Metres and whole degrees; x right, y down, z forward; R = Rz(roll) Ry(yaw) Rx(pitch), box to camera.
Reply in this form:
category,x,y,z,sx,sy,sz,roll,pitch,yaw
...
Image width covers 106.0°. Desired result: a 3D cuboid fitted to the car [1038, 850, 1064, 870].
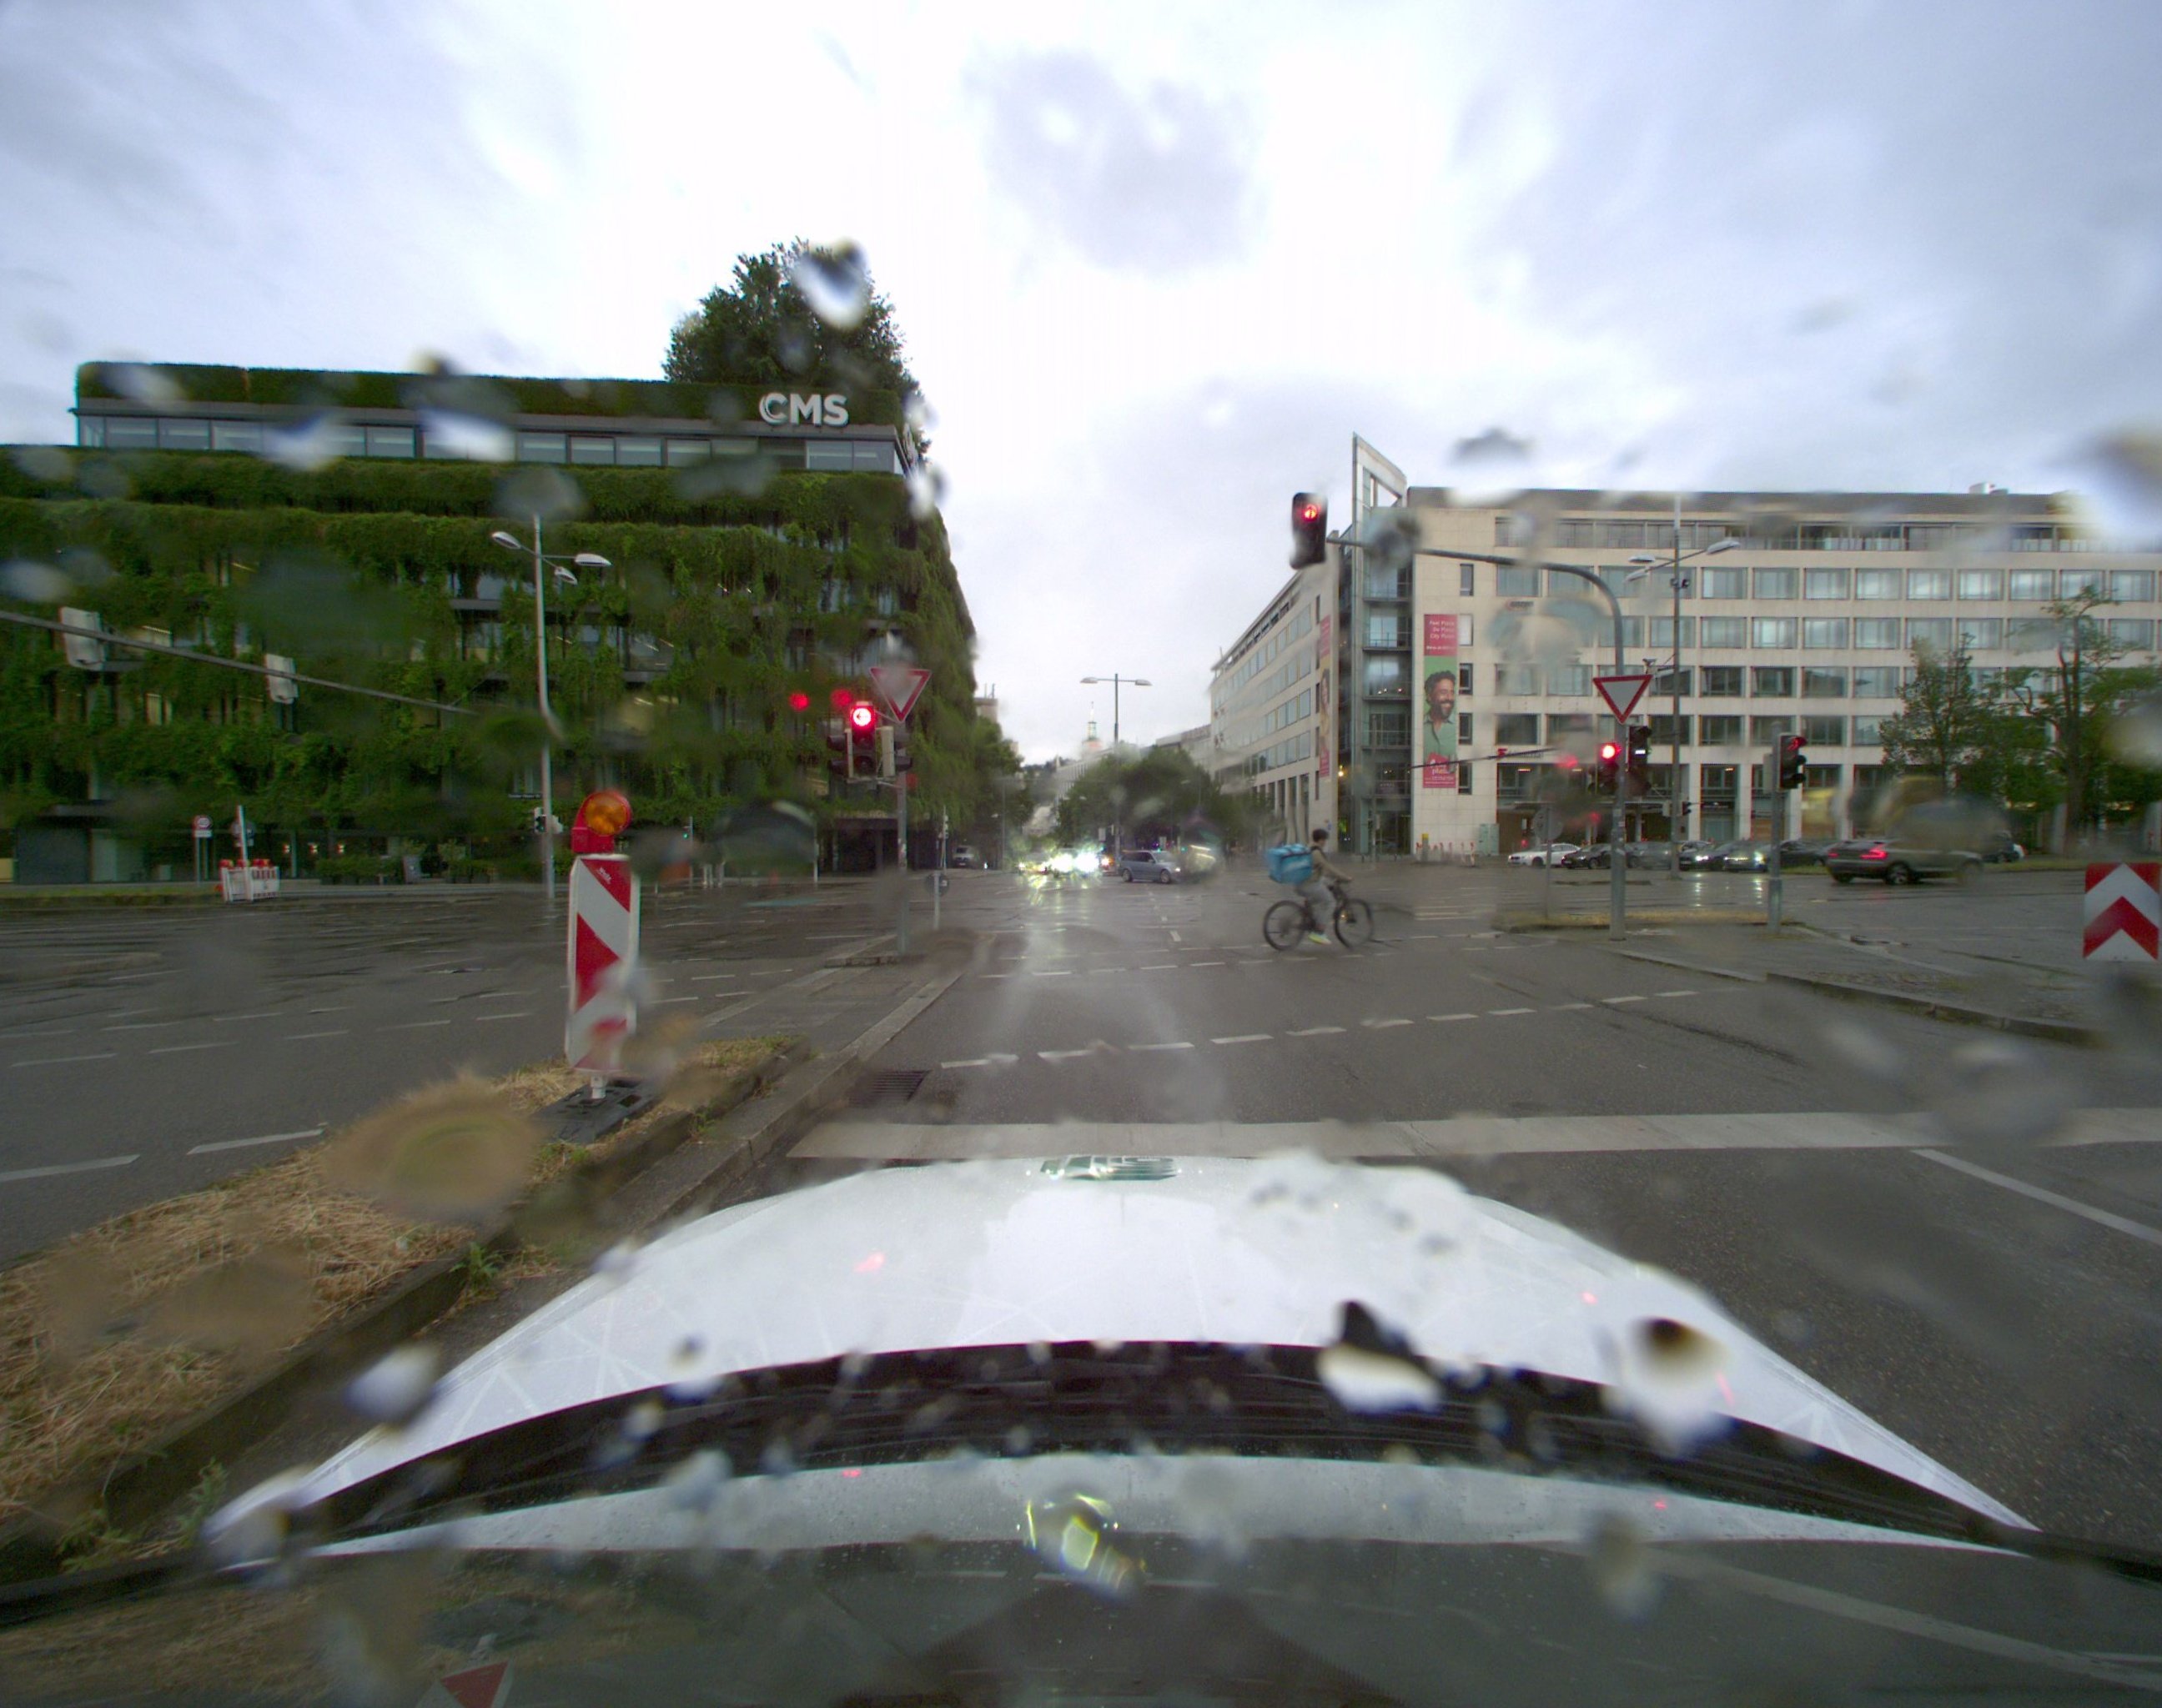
category,x,y,z,sx,sy,sz,roll,pitch,yaw
car,-2.383,0.464,64.538,1.853,1.448,4.614,-1,1,-4

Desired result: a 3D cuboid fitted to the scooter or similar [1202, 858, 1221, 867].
category,x,y,z,sx,sy,sz,roll,pitch,yaw
scooter or similar,12.779,0.831,79.593,1.750,0.878,0.486,-1,0,-18

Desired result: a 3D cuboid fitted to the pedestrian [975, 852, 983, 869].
category,x,y,z,sx,sy,sz,roll,pitch,yaw
pedestrian,-9.157,0.599,73.063,0.605,1.524,0.587,-1,0,-3

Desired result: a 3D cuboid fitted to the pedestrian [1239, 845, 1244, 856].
category,x,y,z,sx,sy,sz,roll,pitch,yaw
pedestrian,16.397,-0.355,83.179,0.354,1.173,0.412,-1,0,-19

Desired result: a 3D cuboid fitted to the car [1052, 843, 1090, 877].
category,x,y,z,sx,sy,sz,roll,pitch,yaw
car,-0.590,0.291,45.174,1.959,1.655,4.361,-1,1,-2

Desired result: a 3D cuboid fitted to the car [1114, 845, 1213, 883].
category,x,y,z,sx,sy,sz,roll,pitch,yaw
car,3.494,0.366,35.223,2.007,1.486,4.420,-2,2,-31

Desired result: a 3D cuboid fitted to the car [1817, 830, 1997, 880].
category,x,y,z,sx,sy,sz,roll,pitch,yaw
car,27.608,0.020,27.291,4.540,1.550,1.994,-1,0,-9

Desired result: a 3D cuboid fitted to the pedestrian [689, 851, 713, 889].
category,x,y,z,sx,sy,sz,roll,pitch,yaw
pedestrian,-18.040,0.745,38.699,0.939,1.758,1.163,-1,0,-22

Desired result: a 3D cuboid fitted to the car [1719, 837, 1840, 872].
category,x,y,z,sx,sy,sz,roll,pitch,yaw
car,31.121,-0.001,36.331,4.452,1.464,1.716,-1,0,-11

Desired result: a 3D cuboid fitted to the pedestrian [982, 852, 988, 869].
category,x,y,z,sx,sy,sz,roll,pitch,yaw
pedestrian,-8.599,0.567,73.151,0.435,1.524,0.547,-1,0,-3

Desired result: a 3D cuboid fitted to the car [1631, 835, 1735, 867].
category,x,y,z,sx,sy,sz,roll,pitch,yaw
car,31.677,-0.184,42.902,4.455,1.598,1.991,-1,0,-13

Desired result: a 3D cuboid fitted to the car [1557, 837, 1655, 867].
category,x,y,z,sx,sy,sz,roll,pitch,yaw
car,29.210,-0.130,45.378,4.451,1.598,1.993,-1,0,-10

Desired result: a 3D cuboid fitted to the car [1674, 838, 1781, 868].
category,x,y,z,sx,sy,sz,roll,pitch,yaw
car,31.284,-0.057,39.435,4.455,1.348,1.715,-1,0,-13

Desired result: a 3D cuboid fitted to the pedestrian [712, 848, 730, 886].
category,x,y,z,sx,sy,sz,roll,pitch,yaw
pedestrian,-17.201,0.625,38.898,0.744,1.758,0.969,-1,0,-22

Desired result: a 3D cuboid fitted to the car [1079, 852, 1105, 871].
category,x,y,z,sx,sy,sz,roll,pitch,yaw
car,0.862,0.595,67.530,1.988,1.443,4.554,-1,0,-1

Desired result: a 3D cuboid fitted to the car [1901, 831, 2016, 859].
category,x,y,z,sx,sy,sz,roll,pitch,yaw
car,45.263,-0.456,42.025,4.638,1.348,1.919,-1,0,-12

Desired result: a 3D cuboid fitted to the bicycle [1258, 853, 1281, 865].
category,x,y,z,sx,sy,sz,roll,pitch,yaw
bicycle,14.976,0.386,64.661,1.778,0.934,0.478,-1,0,43

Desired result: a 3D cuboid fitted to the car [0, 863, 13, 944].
category,x,y,z,sx,sy,sz,roll,pitch,yaw
car,-27.138,1.198,18.212,3.451,1.922,1.992,-1,0,-11

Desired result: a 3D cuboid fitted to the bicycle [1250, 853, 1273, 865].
category,x,y,z,sx,sy,sz,roll,pitch,yaw
bicycle,14.186,0.400,64.038,1.778,0.934,0.478,-1,0,43

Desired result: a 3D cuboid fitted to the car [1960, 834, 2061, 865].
category,x,y,z,sx,sy,sz,roll,pitch,yaw
car,51.794,-0.266,45.417,4.180,1.623,1.727,-1,1,-8

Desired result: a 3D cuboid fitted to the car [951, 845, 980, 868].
category,x,y,z,sx,sy,sz,roll,pitch,yaw
car,-9.705,0.191,68.708,1.989,1.895,4.461,-1,0,-2

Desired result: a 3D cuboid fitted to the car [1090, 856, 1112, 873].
category,x,y,z,sx,sy,sz,roll,pitch,yaw
car,1.985,1.055,82.278,1.988,1.529,4.552,-1,1,-2

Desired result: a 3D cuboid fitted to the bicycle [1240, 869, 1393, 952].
category,x,y,z,sx,sy,sz,roll,pitch,yaw
bicycle,3.537,0.803,12.204,2.155,1.103,0.842,-1,0,-23

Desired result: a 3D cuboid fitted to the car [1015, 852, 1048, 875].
category,x,y,z,sx,sy,sz,roll,pitch,yaw
car,-3.398,0.612,55.300,1.855,1.448,4.608,-1,1,-8

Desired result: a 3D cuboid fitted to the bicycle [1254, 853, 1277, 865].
category,x,y,z,sx,sy,sz,roll,pitch,yaw
bicycle,14.845,0.392,65.631,1.778,0.934,0.478,-1,0,43

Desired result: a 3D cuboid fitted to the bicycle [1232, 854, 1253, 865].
category,x,y,z,sx,sy,sz,roll,pitch,yaw
bicycle,14.400,0.453,72.568,1.786,0.934,0.476,-1,0,4

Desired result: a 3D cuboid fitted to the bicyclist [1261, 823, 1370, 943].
category,x,y,z,sx,sy,sz,roll,pitch,yaw
bicyclist,3.495,0.405,12.170,1.300,1.704,0.842,-1,0,-23

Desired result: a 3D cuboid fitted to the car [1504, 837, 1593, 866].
category,x,y,z,sx,sy,sz,roll,pitch,yaw
car,27.976,-0.150,48.773,4.456,1.598,1.991,-1,0,-14

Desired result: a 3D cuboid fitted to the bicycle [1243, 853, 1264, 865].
category,x,y,z,sx,sy,sz,roll,pitch,yaw
bicycle,14.967,0.438,70.705,1.786,0.934,0.476,-1,0,4

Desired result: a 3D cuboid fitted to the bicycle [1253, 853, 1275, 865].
category,x,y,z,sx,sy,sz,roll,pitch,yaw
bicycle,14.907,0.431,66.375,1.778,0.934,0.478,-1,0,43
